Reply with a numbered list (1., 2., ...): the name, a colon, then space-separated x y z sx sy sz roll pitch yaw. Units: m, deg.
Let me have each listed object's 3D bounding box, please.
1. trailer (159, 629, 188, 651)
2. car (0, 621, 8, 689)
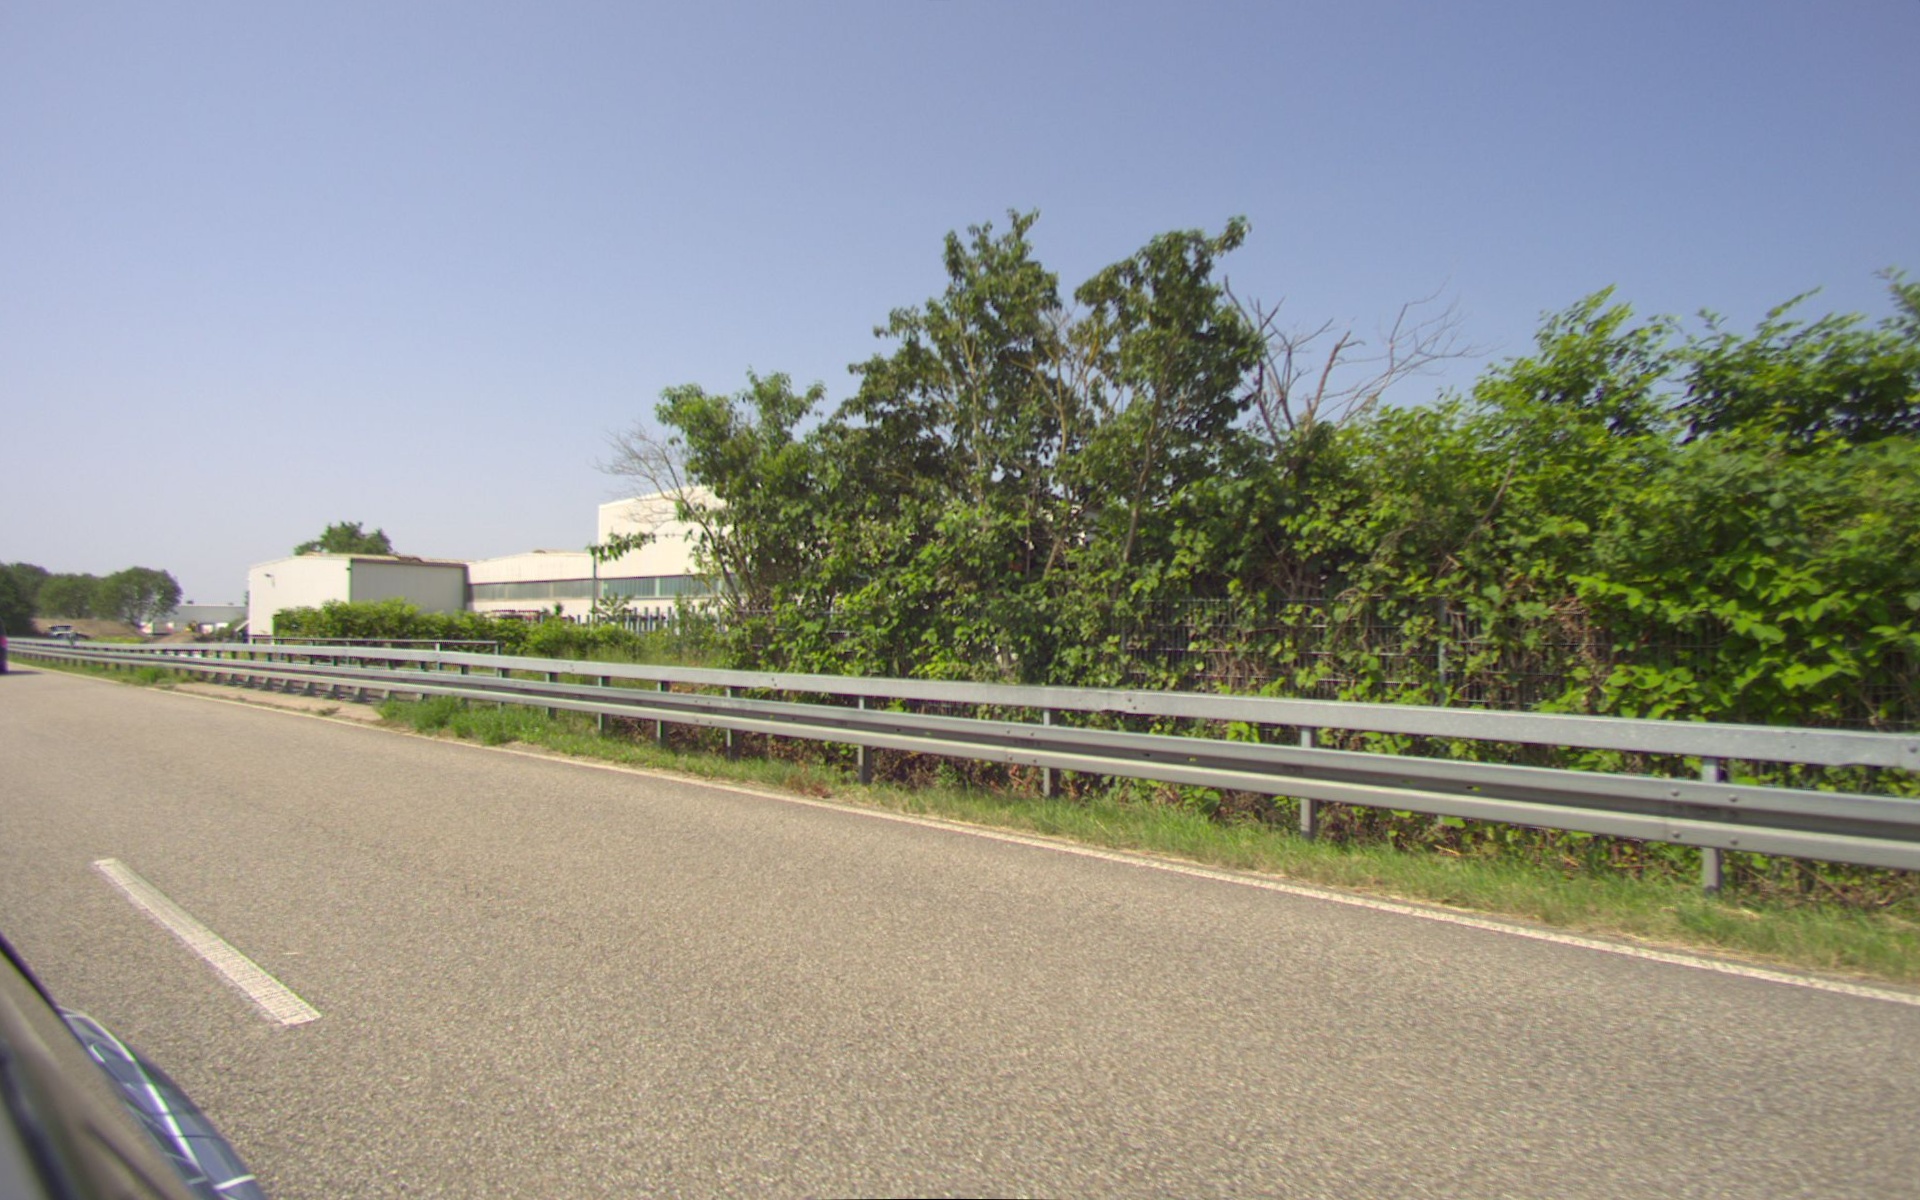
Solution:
1. trailer: -154.425 7.891 198.781 7.529 4.251 2.827 -3 -2 38
2. car: -31.025 1.692 31.206 5.366 2.029 1.873 -2 -1 41
